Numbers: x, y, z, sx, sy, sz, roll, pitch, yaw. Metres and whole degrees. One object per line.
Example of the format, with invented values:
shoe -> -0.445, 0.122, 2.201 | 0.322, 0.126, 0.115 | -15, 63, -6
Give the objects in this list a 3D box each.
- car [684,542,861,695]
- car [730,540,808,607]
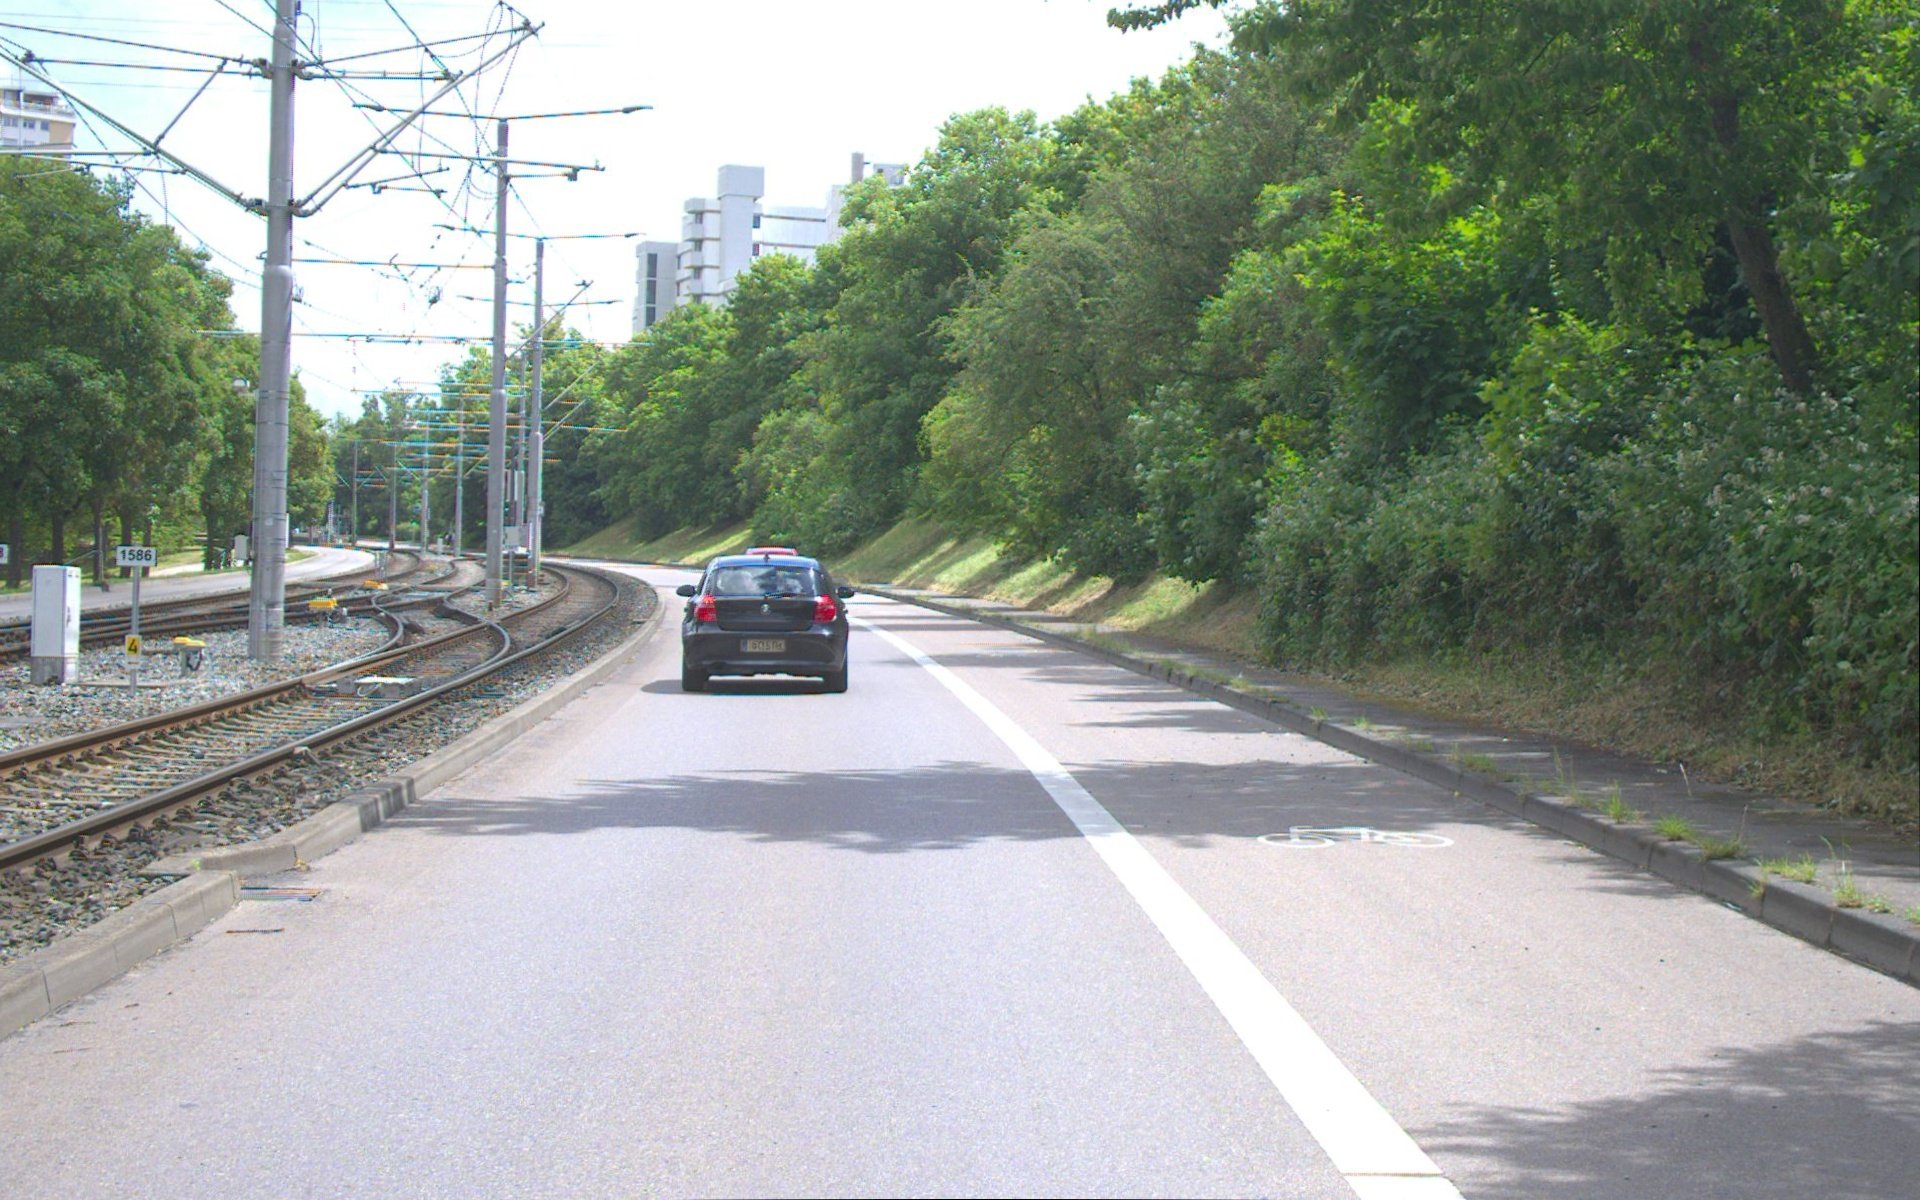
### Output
car -> -1.948, 0.184, 36.631 | 1.708, 1.455, 3.960 | 3, 0, -2
car -> -4.378, -0.604, 78.540 | 1.624, 1.438, 3.422 | 3, 0, -5
